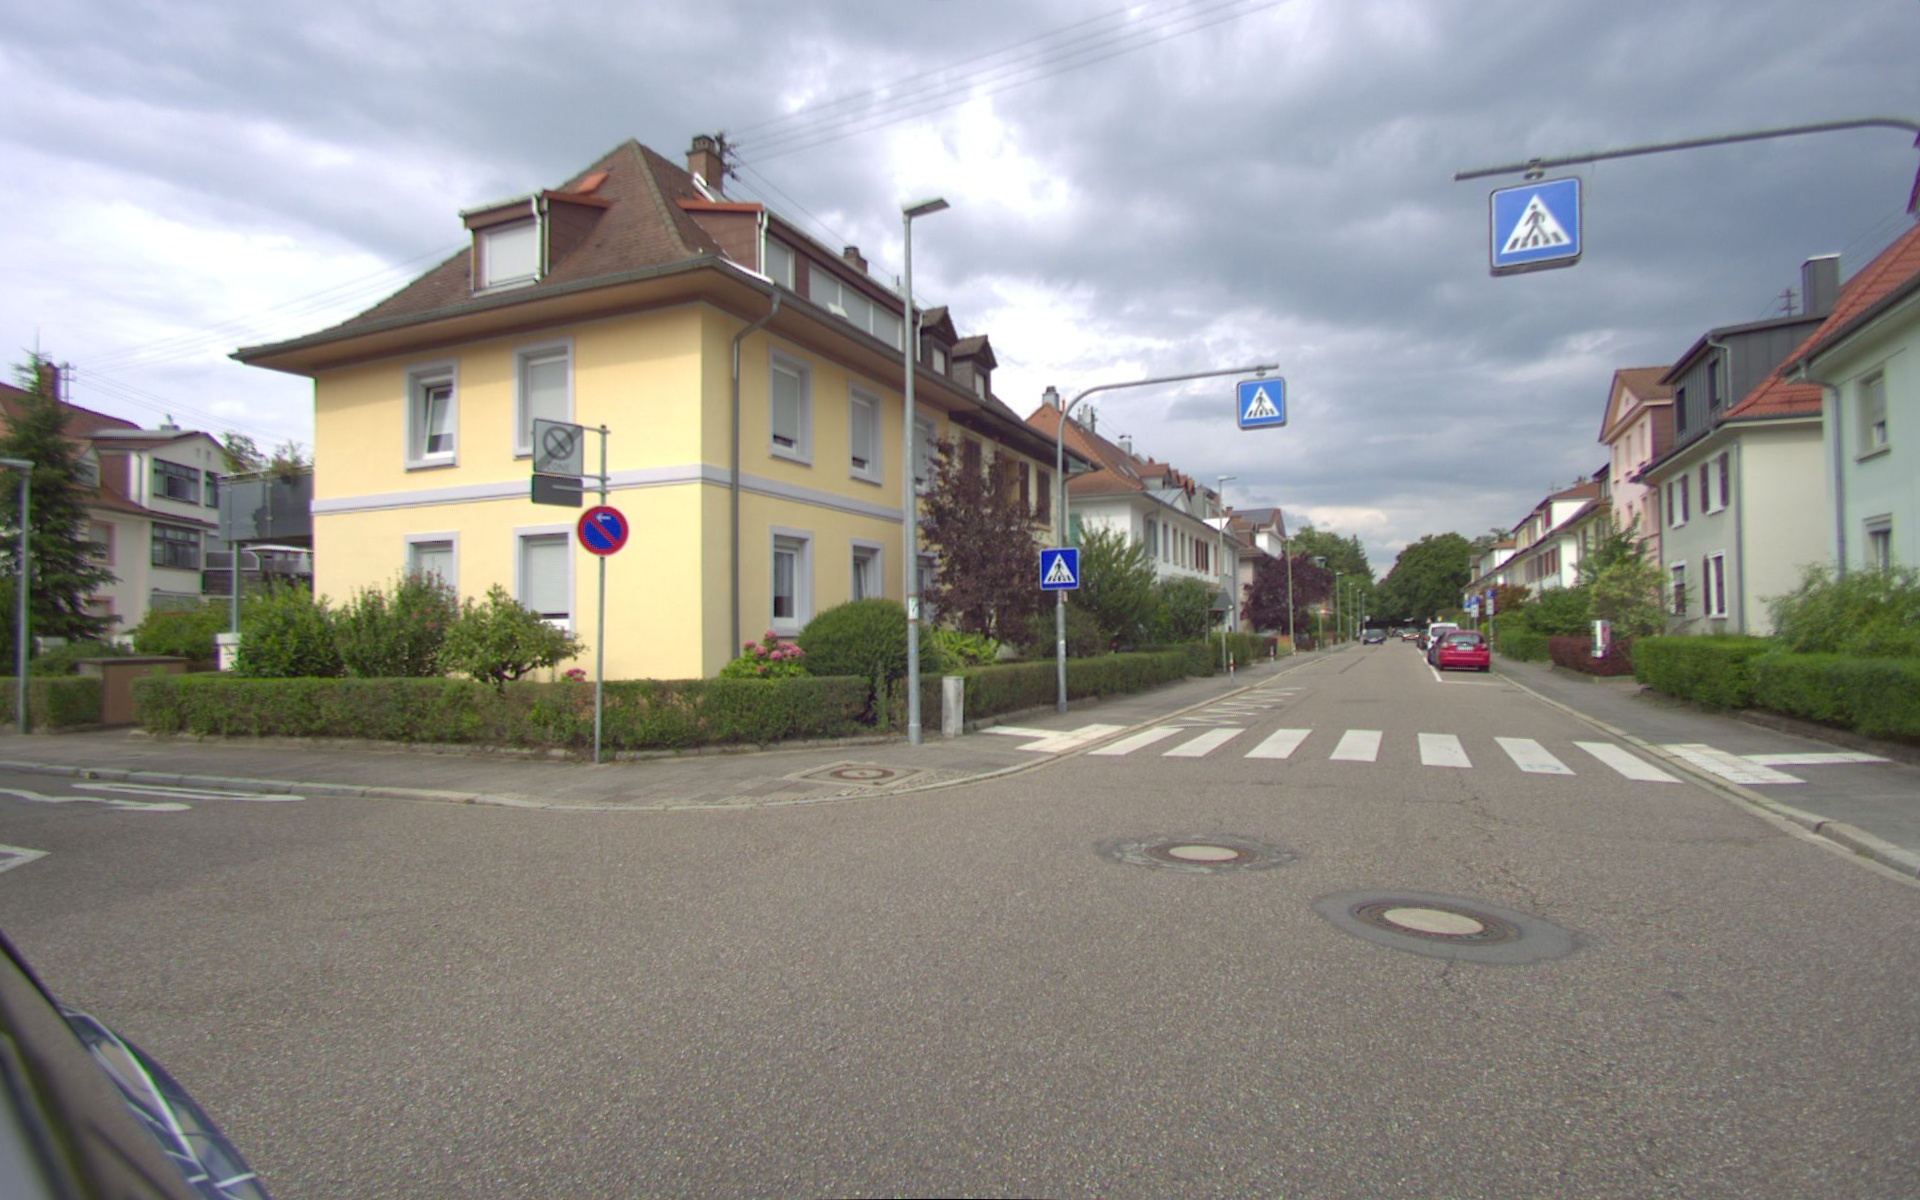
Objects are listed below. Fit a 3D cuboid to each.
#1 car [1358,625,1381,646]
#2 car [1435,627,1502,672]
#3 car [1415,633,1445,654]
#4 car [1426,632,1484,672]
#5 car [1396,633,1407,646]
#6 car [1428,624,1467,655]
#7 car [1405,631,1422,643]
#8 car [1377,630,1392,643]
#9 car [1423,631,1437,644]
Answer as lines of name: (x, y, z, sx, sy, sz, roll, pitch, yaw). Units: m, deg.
car: (41.272, 3.569, 102.044, 1.988, 2.029, 3.967, -1, -2, 24)
car: (18.929, 1.832, 37.839, 1.988, 1.586, 3.967, -2, -2, 24)
car: (36.105, 3.326, 77.868, 1.988, 1.586, 3.967, -2, -2, 24)
car: (20.810, 2.149, 42.673, 1.988, 1.586, 3.967, -2, -2, 24)
car: (73.404, 6.574, 168.241, 1.618, 2.029, 3.878, -2, -2, 22)
car: (30.441, 2.465, 63.304, 1.988, 1.918, 3.967, -2, -2, 24)
car: (55.187, 4.492, 123.201, 1.825, 1.497, 3.969, 0, -2, 23)
car: (61.451, 5.304, 146.556, 1.801, 1.894, 3.916, -2, -2, 24)
car: (74.064, 5.929, 159.615, 1.988, 2.029, 3.967, 0, -2, 24)
